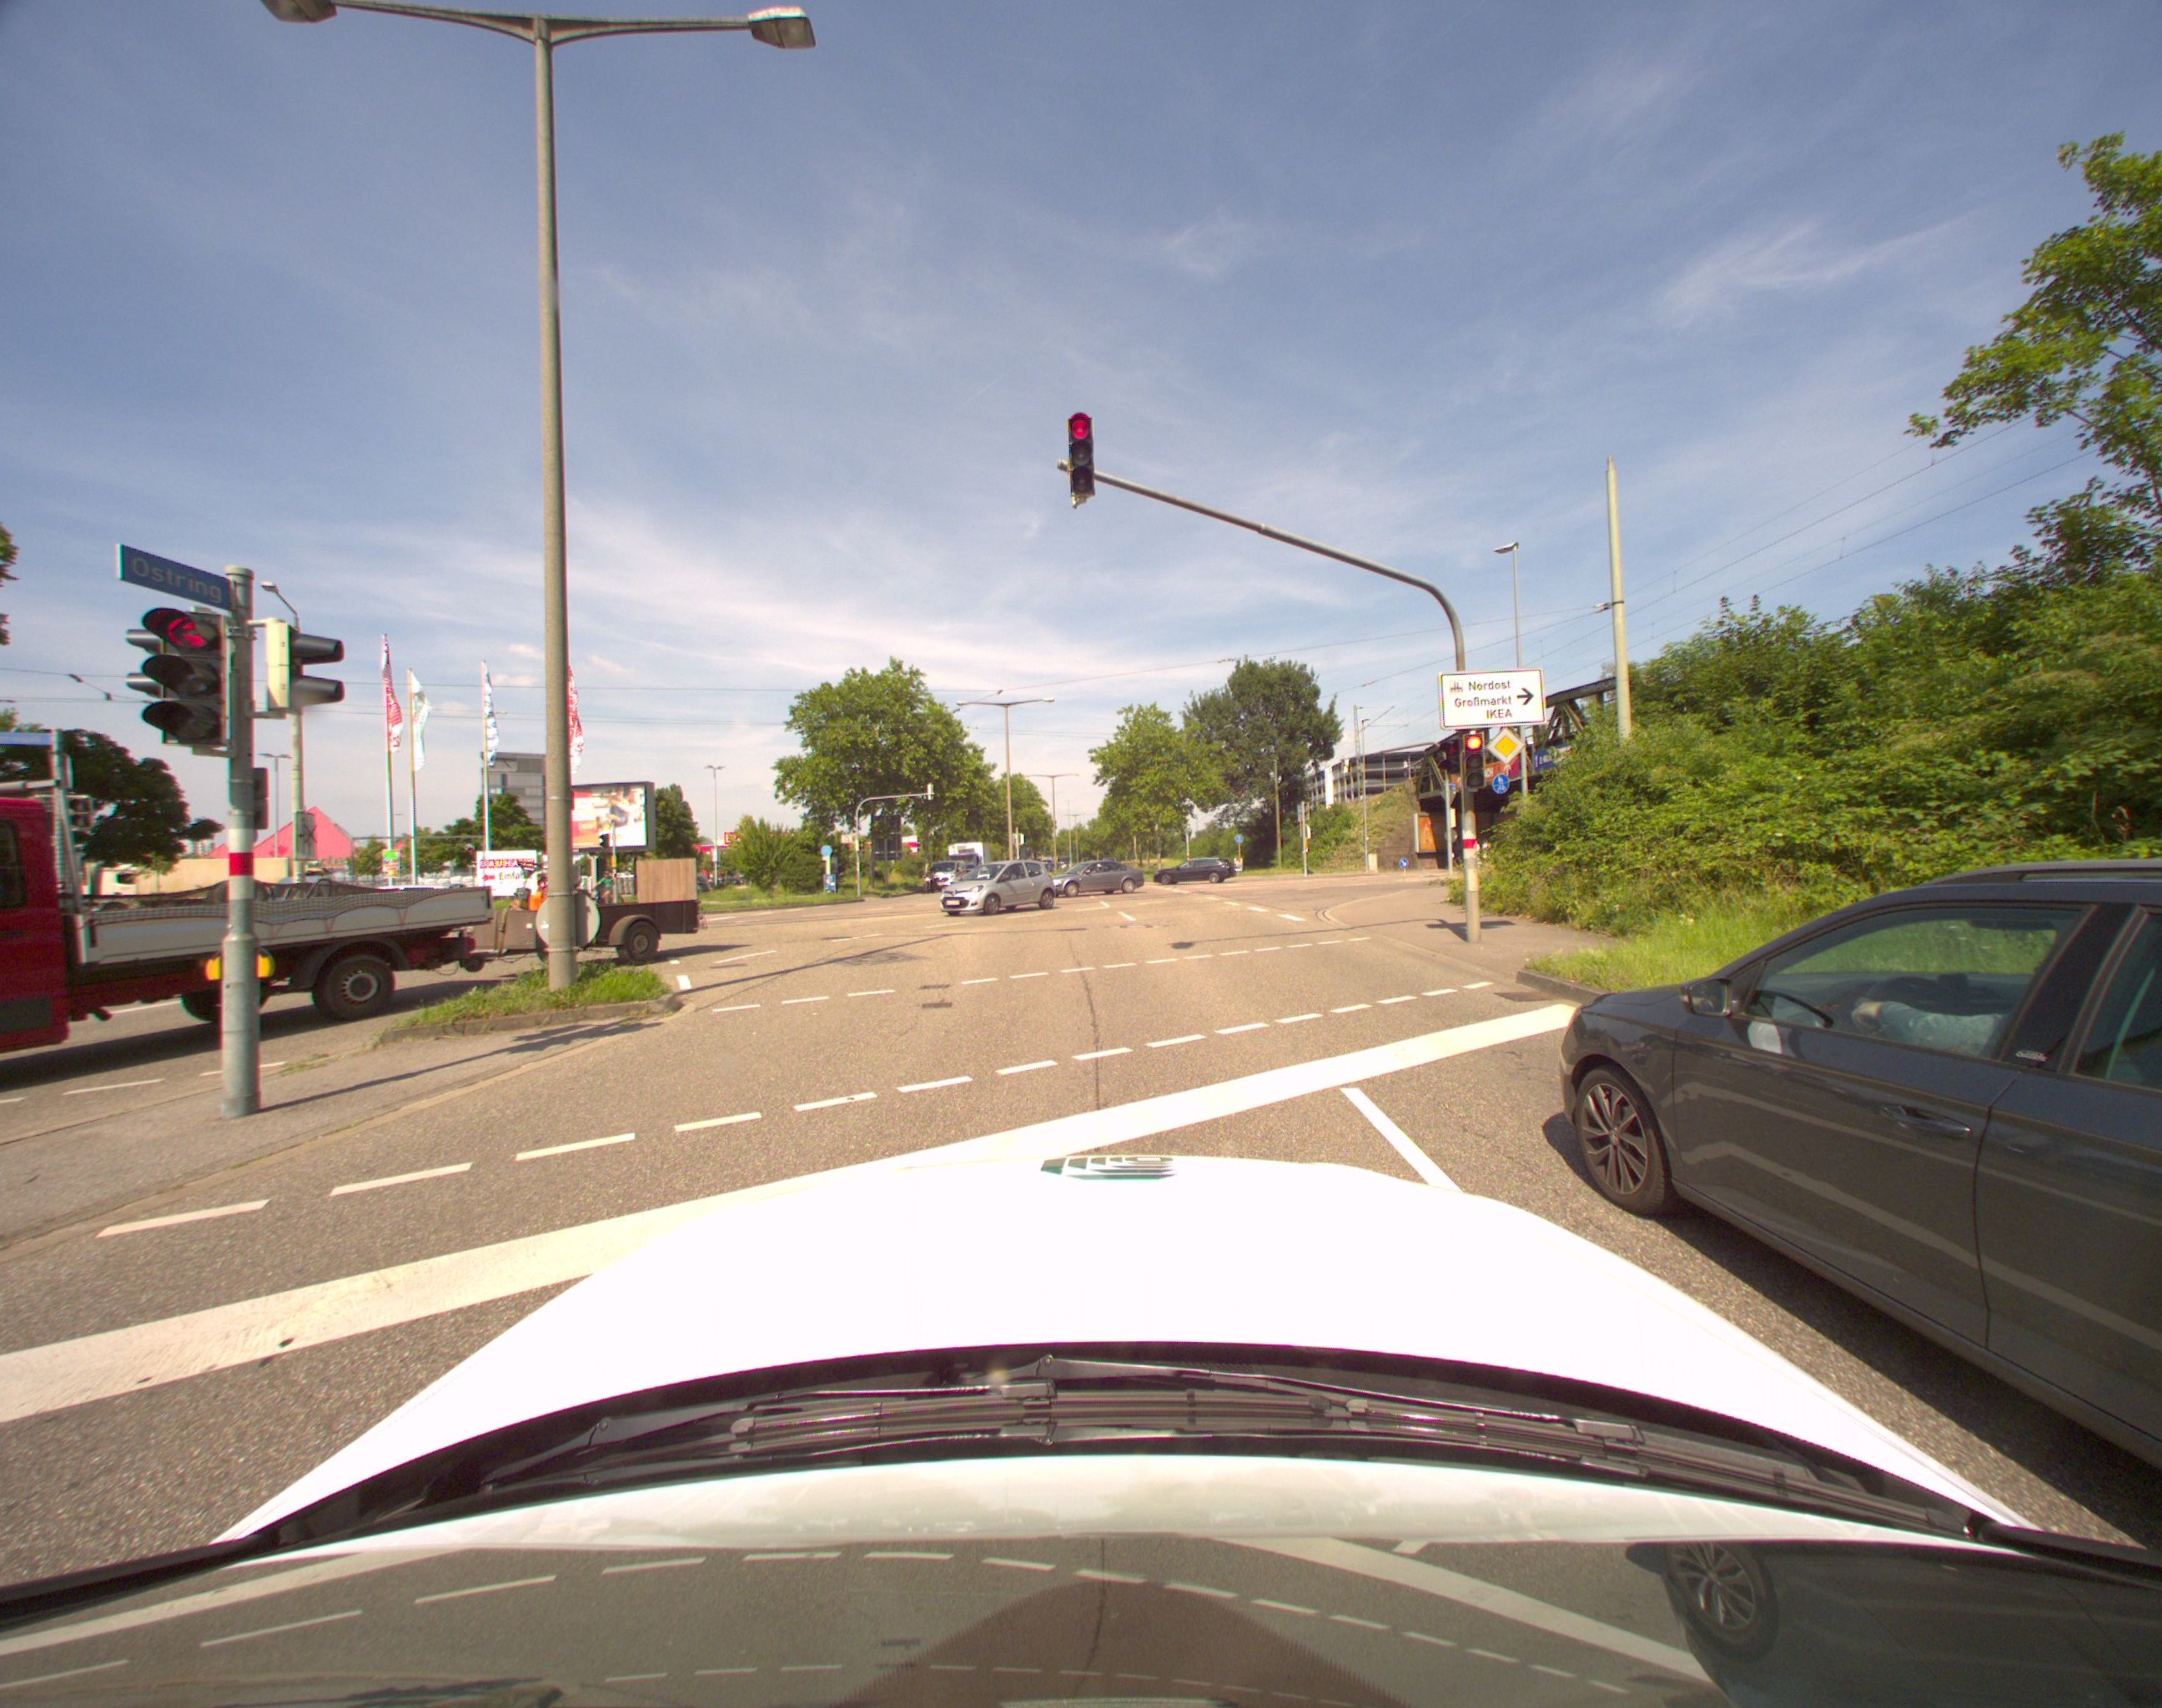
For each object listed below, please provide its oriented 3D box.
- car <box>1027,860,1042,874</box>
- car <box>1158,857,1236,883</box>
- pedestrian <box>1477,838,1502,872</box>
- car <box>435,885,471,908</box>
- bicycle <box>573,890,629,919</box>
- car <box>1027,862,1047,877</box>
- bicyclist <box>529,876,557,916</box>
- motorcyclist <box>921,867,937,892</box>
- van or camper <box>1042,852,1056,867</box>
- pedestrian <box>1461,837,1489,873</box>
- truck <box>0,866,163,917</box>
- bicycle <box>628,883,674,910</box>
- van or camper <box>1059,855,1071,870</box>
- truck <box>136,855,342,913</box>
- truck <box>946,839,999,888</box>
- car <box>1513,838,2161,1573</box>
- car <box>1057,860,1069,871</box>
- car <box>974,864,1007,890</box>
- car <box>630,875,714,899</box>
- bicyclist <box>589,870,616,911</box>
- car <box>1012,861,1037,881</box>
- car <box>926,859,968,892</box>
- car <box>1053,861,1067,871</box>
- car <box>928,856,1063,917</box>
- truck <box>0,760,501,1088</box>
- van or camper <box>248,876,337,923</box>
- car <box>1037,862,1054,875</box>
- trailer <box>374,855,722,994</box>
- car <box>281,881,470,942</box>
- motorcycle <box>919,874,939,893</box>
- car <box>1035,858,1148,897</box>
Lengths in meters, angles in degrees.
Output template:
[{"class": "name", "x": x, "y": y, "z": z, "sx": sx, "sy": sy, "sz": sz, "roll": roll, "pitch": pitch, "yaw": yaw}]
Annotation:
[{"class": "car", "x": -6.760, "y": 1.907, "z": 119.270, "sx": 1.682, "sy": 1.858, "sz": 4.038, "roll": -3, "pitch": -1, "yaw": 2}, {"class": "car", "x": 6.817, "y": 0.926, "z": 47.633, "sx": 4.218, "sy": 1.391, "sz": 1.848, "roll": -2, "pitch": 0, "yaw": 16}, {"class": "pedestrian", "x": 18.998, "y": 0.049, "z": 37.872, "sx": 0.726, "sy": 1.579, "sz": 0.778, "roll": -2, "pitch": -1, "yaw": 1}, {"class": "car", "x": -45.842, "y": 3.075, "z": 59.508, "sx": 1.829, "sy": 1.572, "sz": 4.234, "roll": -2, "pitch": -1, "yaw": -34}, {"class": "bicycle", "x": -17.855, "y": 1.875, "z": 30.339, "sx": 0.412, "sy": 0.937, "sz": 2.007, "roll": -2, "pitch": -1, "yaw": 18}, {"class": "car", "x": -4.572, "y": 1.607, "z": 85.162, "sx": 1.682, "sy": 1.472, "sz": 3.816, "roll": -3, "pitch": 0, "yaw": 2}, {"class": "bicyclist", "x": -19.246, "y": 1.495, "z": 29.155, "sx": 0.523, "sy": 1.414, "sz": 0.613, "roll": -2, "pitch": -1, "yaw": 24}, {"class": "motorcyclist", "x": -9.067, "y": 1.502, "z": 48.619, "sx": 0.740, "sy": 1.470, "sz": 0.988, "roll": -2, "pitch": 0, "yaw": 1}, {"class": "van or camper", "x": -5.846, "y": 1.001, "z": 148.260, "sx": 2.007, "sy": 2.587, "sz": 5.519, "roll": -3, "pitch": 0, "yaw": 2}, {"class": "pedestrian", "x": 18.214, "y": 0.064, "z": 37.637, "sx": 0.865, "sy": 1.611, "sz": 0.778, "roll": -2, "pitch": -1, "yaw": 1}, {"class": "truck", "x": -64.851, "y": 2.355, "z": 50.731, "sx": 9.655, "sy": 2.892, "sz": 2.895, "roll": -2, "pitch": -1, "yaw": -35}, {"class": "bicycle", "x": -18.778, "y": 1.841, "z": 35.599, "sx": 0.590, "sy": 1.037, "sz": 1.903, "roll": -2, "pitch": -1, "yaw": 16}, {"class": "van or camper", "x": -2.733, "y": 1.470, "z": 141.002, "sx": 1.932, "sy": 2.368, "sz": 5.397, "roll": -3, "pitch": -1, "yaw": 0}, {"class": "truck", "x": -55.067, "y": 1.885, "z": 53.717, "sx": 8.964, "sy": 3.311, "sz": 3.125, "roll": -2, "pitch": -1, "yaw": -36}, {"class": "truck", "x": -8.411, "y": 0.686, "z": 63.946, "sx": 2.793, "sy": 3.471, "sz": 6.693, "roll": -4, "pitch": 0, "yaw": 2}, {"class": "car", "x": 2.978, "y": 0.687, "z": 2.104, "sx": 1.668, "sy": 1.453, "sz": 4.037, "roll": -1, "pitch": 0, "yaw": 1}, {"class": "car", "x": -2.845, "y": 1.855, "z": 132.265, "sx": 1.682, "sy": 1.510, "sz": 3.816, "roll": -3, "pitch": 0, "yaw": 2}, {"class": "car", "x": -5.849, "y": 1.477, "z": 52.943, "sx": 1.587, "sy": 1.477, "sz": 3.731, "roll": -3, "pitch": 0, "yaw": 2}, {"class": "car", "x": -27.774, "y": 2.227, "z": 55.480, "sx": 4.556, "sy": 1.414, "sz": 2.196, "roll": -2, "pitch": -1, "yaw": -6}, {"class": "bicyclist", "x": -17.854, "y": 1.368, "z": 30.392, "sx": 0.523, "sy": 1.491, "sz": 0.612, "roll": -2, "pitch": -1, "yaw": 17}, {"class": "car", "x": -4.957, "y": 1.463, "z": 72.252, "sx": 1.682, "sy": 1.586, "sz": 4.242, "roll": -3, "pitch": 0, "yaw": 2}, {"class": "car", "x": -8.770, "y": 1.379, "z": 53.696, "sx": 1.970, "sy": 1.999, "sz": 5.030, "roll": -2, "pitch": 0, "yaw": -1}, {"class": "car", "x": -3.176, "y": 1.842, "z": 125.479, "sx": 1.777, "sy": 1.459, "sz": 4.473, "roll": -3, "pitch": 0, "yaw": 2}, {"class": "car", "x": -2.355, "y": 0.870, "z": 23.246, "sx": 1.633, "sy": 1.514, "sz": 3.760, "roll": -2, "pitch": 0, "yaw": 38}, {"class": "truck", "x": -9.106, "y": 0.562, "z": 6.855, "sx": 2.124, "sy": 2.475, "sz": 7.155, "roll": -2, "pitch": 0, "yaw": 14}, {"class": "van or camper", "x": -41.035, "y": 2.305, "z": 42.542, "sx": 2.204, "sy": 2.210, "sz": 5.462, "roll": -2, "pitch": -1, "yaw": -32}, {"class": "car", "x": -4.240, "y": 1.708, "z": 97.857, "sx": 1.778, "sy": 1.489, "sz": 4.211, "roll": -3, "pitch": 0, "yaw": 1}, {"class": "trailer", "x": -7.729, "y": 0.915, "z": 12.360, "sx": 2.046, "sy": 1.715, "sz": 4.007, "roll": -2, "pitch": 0, "yaw": 15}, {"class": "car", "x": -20.013, "y": 1.578, "z": 23.339, "sx": 3.875, "sy": 1.427, "sz": 1.682, "roll": -2, "pitch": -1, "yaw": -33}, {"class": "motorcycle", "x": -9.029, "y": 1.745, "z": 48.523, "sx": 0.685, "sy": 0.991, "sz": 2.218, "roll": -2, "pitch": 0, "yaw": 2}, {"class": "car", "x": 0.461, "y": 0.941, "z": 33.731, "sx": 4.477, "sy": 1.411, "sz": 1.623, "roll": -2, "pitch": 0, "yaw": -31}]
